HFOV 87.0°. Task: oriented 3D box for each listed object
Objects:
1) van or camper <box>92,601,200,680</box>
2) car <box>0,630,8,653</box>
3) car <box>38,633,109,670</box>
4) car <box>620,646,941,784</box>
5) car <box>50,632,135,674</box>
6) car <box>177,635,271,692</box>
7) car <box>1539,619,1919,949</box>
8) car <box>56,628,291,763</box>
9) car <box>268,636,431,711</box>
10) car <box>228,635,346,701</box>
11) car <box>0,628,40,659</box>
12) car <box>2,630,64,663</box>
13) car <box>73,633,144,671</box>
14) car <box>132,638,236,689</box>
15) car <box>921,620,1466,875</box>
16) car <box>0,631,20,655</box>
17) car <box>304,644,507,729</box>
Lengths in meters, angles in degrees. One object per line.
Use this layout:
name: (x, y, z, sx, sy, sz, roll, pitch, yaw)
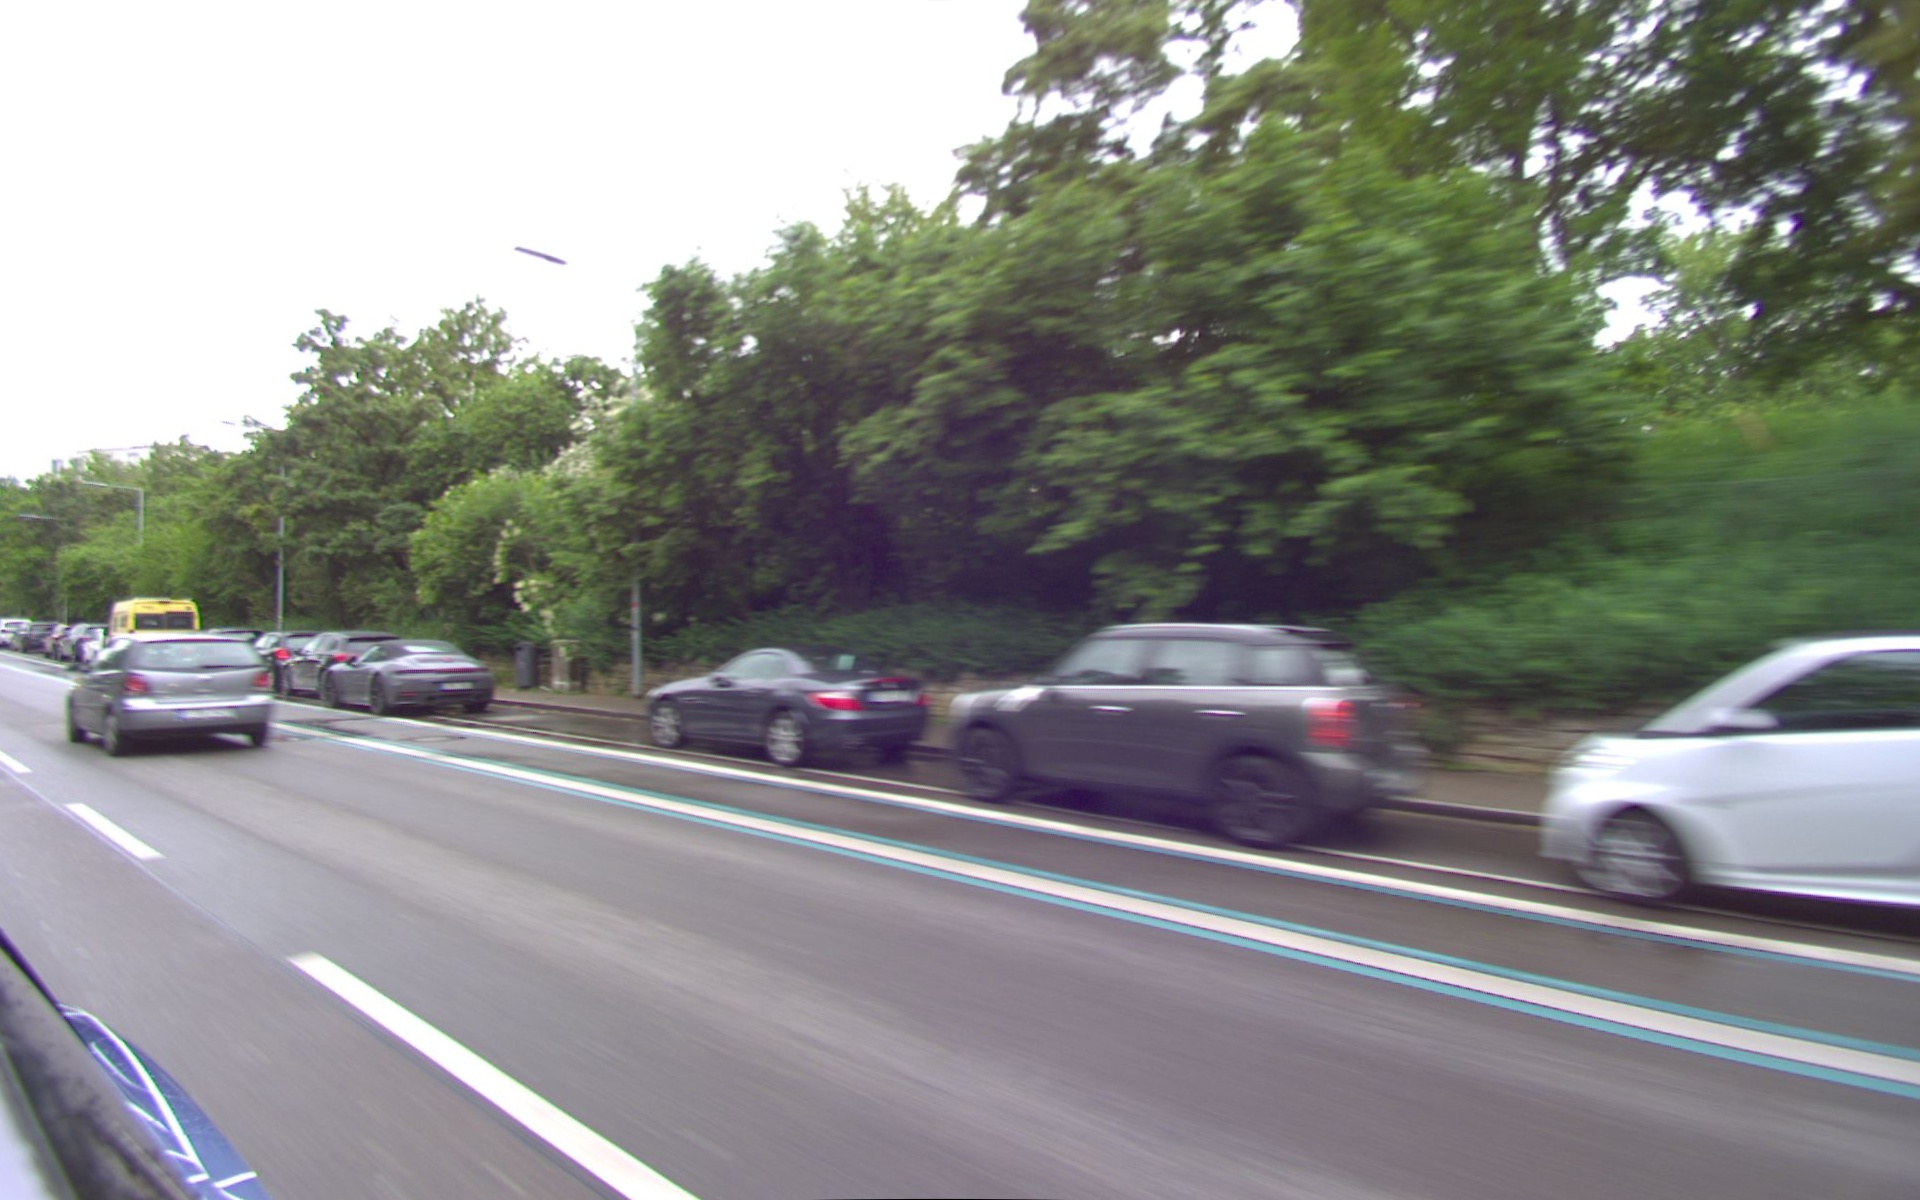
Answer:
van or camper: (-29.432, 1.422, 36.522, 5.680, 2.647, 2.121, -2, -2, 42)
car: (-65.332, 2.778, 67.992, 4.587, 1.456, 1.730, -2, -1, 43)
car: (-41.485, 2.374, 47.317, 4.487, 1.629, 1.899, -1, -3, 41)
car: (-2.304, 1.251, 12.251, 4.192, 1.310, 1.677, -2, -2, 43)
car: (-37.382, 2.231, 43.577, 4.610, 1.713, 1.974, -2, -2, 39)
car: (-21.274, 1.791, 29.219, 3.138, 1.522, 1.585, -2, -2, 42)
car: (4.981, 0.897, 5.489, 2.981, 1.583, 1.446, -2, -2, 40)
car: (-10.416, 1.147, 13.305, 4.033, 1.496, 1.681, -2, -3, 41)
car: (-13.490, 1.536, 22.273, 4.137, 1.463, 1.972, -2, -2, 42)
car: (-17.185, 1.670, 25.779, 3.975, 1.522, 1.585, -2, -2, 42)
car: (-56.494, 2.556, 60.171, 4.956, 1.779, 1.973, -1, -1, 40)
car: (-50.273, 2.501, 54.853, 4.564, 1.661, 1.715, -1, -1, 38)
car: (-34.034, 2.048, 40.412, 3.655, 1.460, 1.600, -2, -3, 41)
car: (-24.685, 1.963, 32.145, 4.144, 1.510, 1.663, -1, -3, 39)
car: (1.718, 0.985, 8.413, 4.139, 1.596, 1.677, -2, -2, 43)
car: (-61.328, 2.746, 64.330, 4.704, 1.471, 1.701, -1, -2, 40)
car: (-10.327, 1.508, 18.725, 4.467, 1.314, 1.850, -2, -2, 41)
